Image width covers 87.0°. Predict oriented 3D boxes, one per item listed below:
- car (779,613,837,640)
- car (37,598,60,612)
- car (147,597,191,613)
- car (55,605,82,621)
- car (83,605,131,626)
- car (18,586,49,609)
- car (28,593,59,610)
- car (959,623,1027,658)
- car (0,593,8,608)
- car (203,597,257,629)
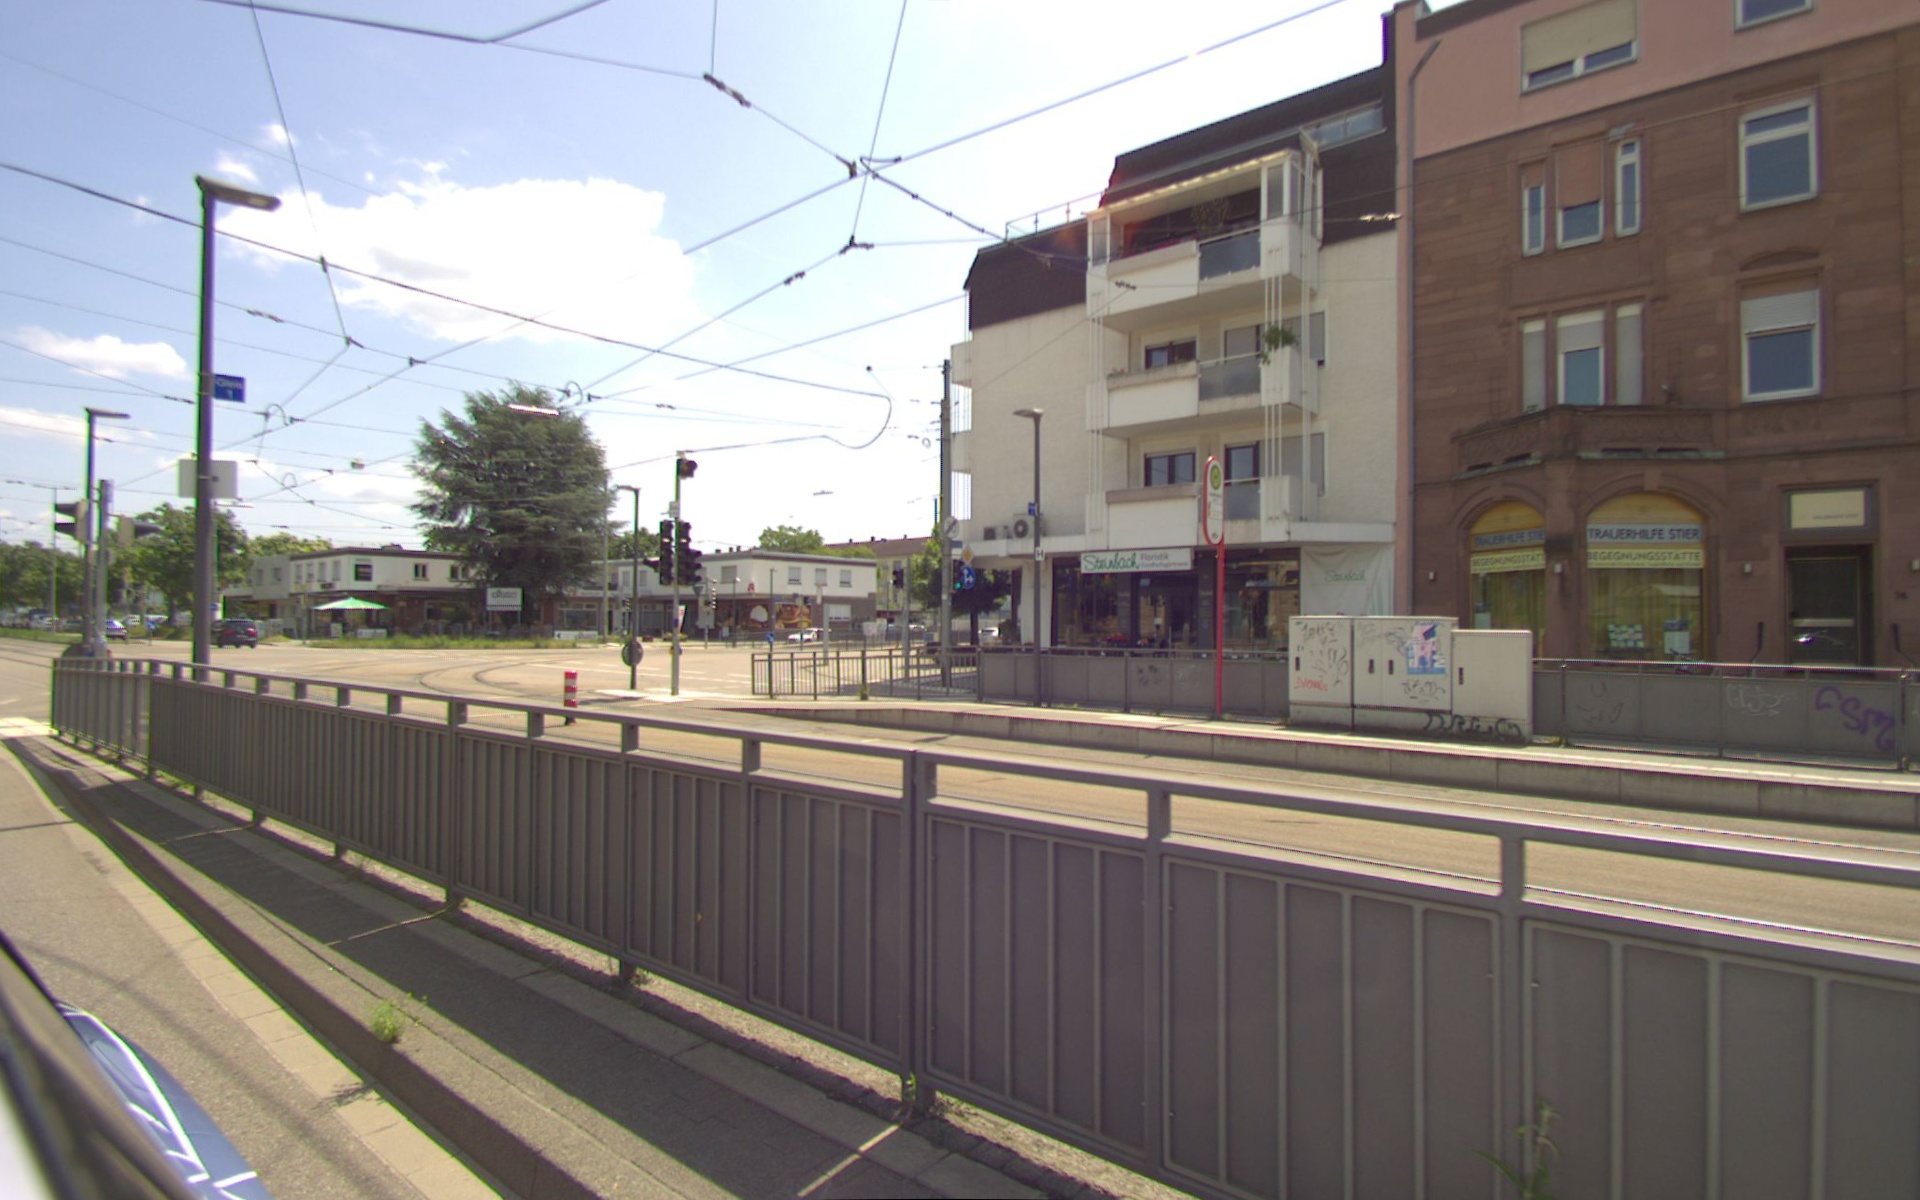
[{"bbox_3d":[-11.047,1.953,73.644,1.899,1.738,3.800,0,-4,42],"label":"car"},{"bbox_3d":[-101.023,0.575,112.140,4.358,1.551,1.483,0,0,42],"label":"car"},{"bbox_3d":[-97.445,0.623,124.761,1.902,1.749,3.945,-1,-3,41],"label":"car"},{"bbox_3d":[-93.368,1.347,106.007,4.549,1.551,1.560,0,0,42],"label":"car"},{"bbox_3d":[-63.562,1.153,75.385,4.398,1.482,1.973,-1,-3,40],"label":"car"},{"bbox_3d":[-110.411,-0.261,120.612,5.031,2.631,2.128,0,0,41],"label":"car"},{"bbox_3d":[-105.843,0.198,116.864,4.886,1.851,2.128,0,0,41],"label":"car"},{"bbox_3d":[1.944,2.368,58.686,1.998,1.927,3.948,-1,-3,39],"label":"car"},{"bbox_3d":[-137.452,0.086,144.208,4.484,2.117,2.046,0,0,39],"label":"car"},{"bbox_3d":[-41.085,0.754,56.921,4.281,1.696,1.704,-1,-3,44],"label":"car"}]
